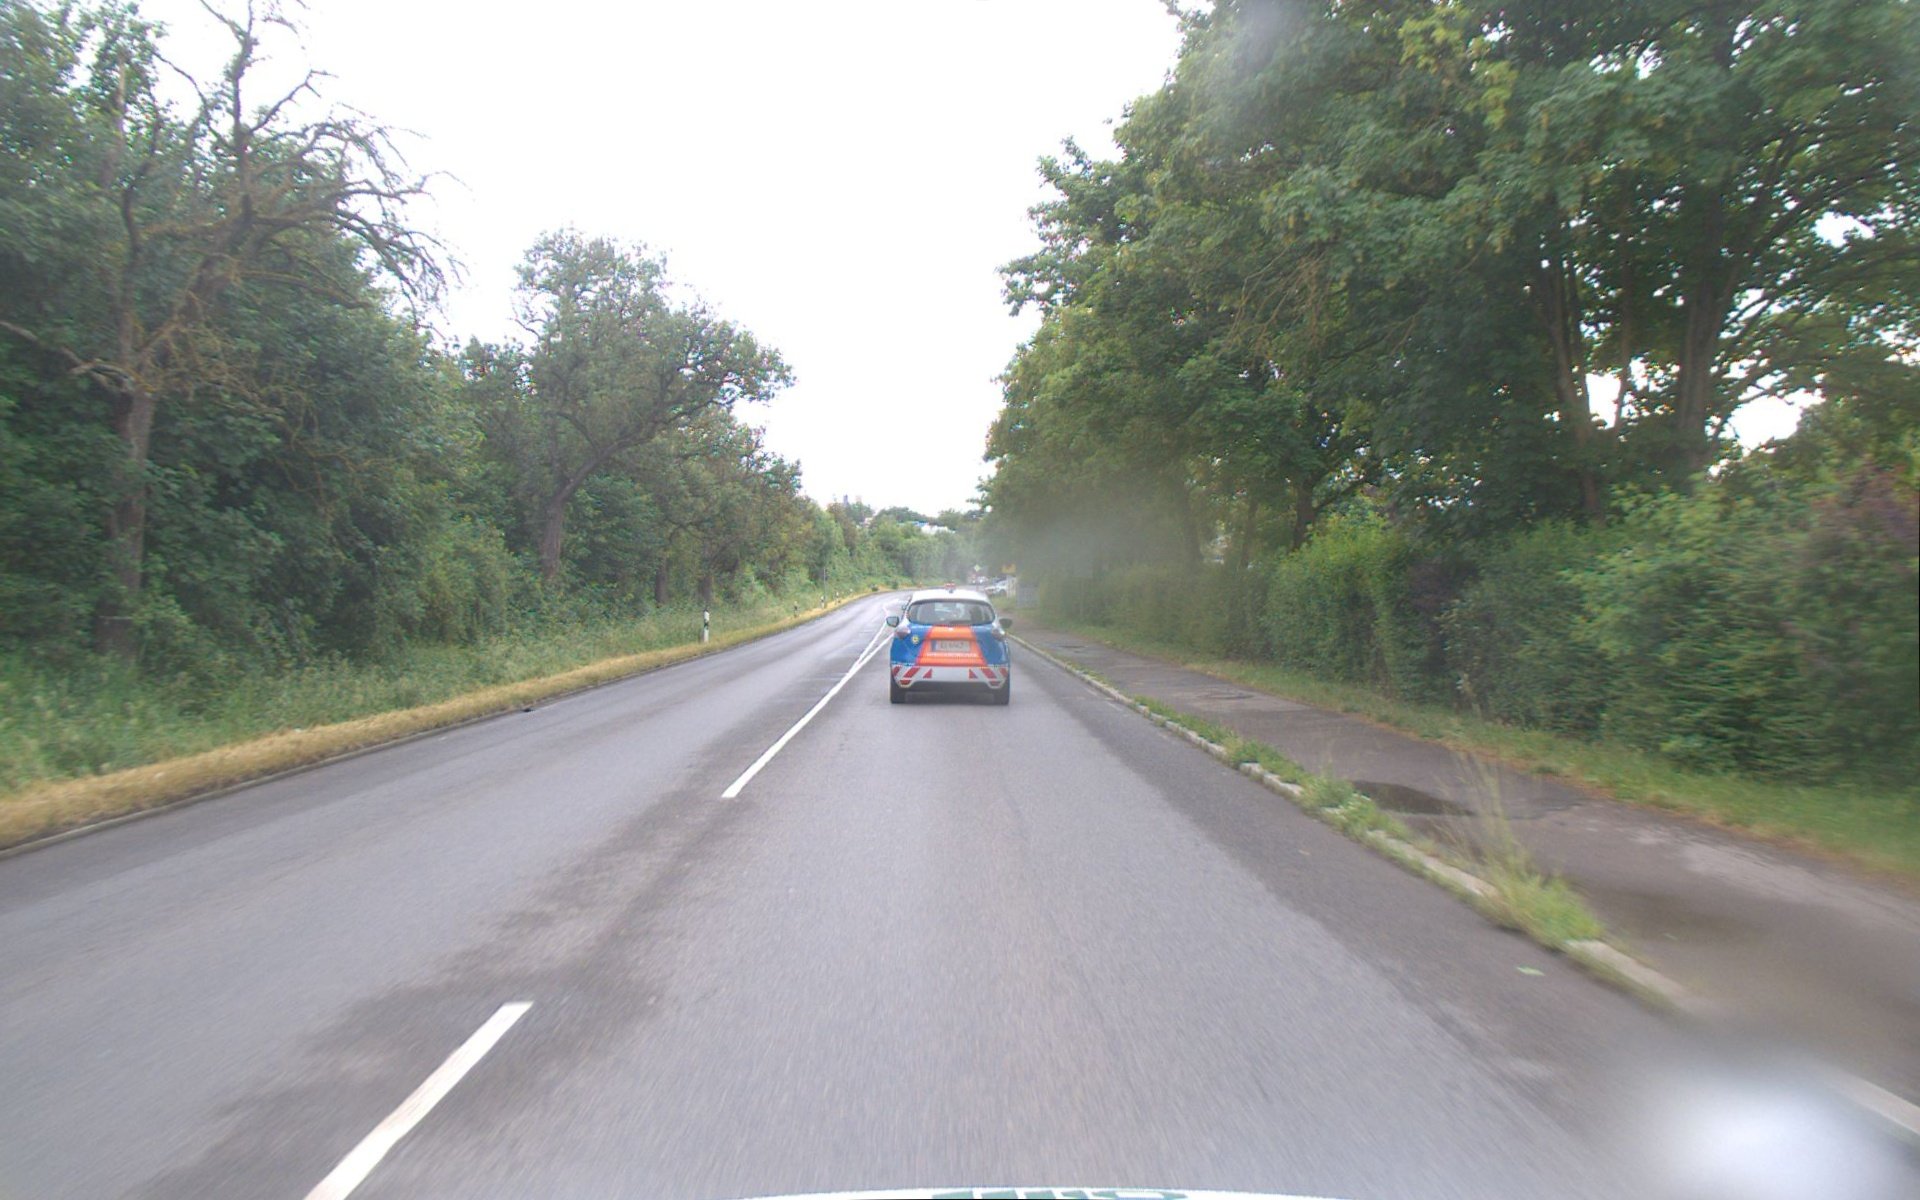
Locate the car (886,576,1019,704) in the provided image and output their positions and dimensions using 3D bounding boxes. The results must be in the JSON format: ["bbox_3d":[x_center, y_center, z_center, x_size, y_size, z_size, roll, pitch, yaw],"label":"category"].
[{"bbox_3d":[-0.138,0.539,24.283,1.769,1.697,3.855,1,0,-1],"label":"car"}]

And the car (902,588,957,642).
[{"bbox_3d":[-0.979,0.456,52.562,1.659,1.623,3.855,1,0,-2],"label":"car"}]
